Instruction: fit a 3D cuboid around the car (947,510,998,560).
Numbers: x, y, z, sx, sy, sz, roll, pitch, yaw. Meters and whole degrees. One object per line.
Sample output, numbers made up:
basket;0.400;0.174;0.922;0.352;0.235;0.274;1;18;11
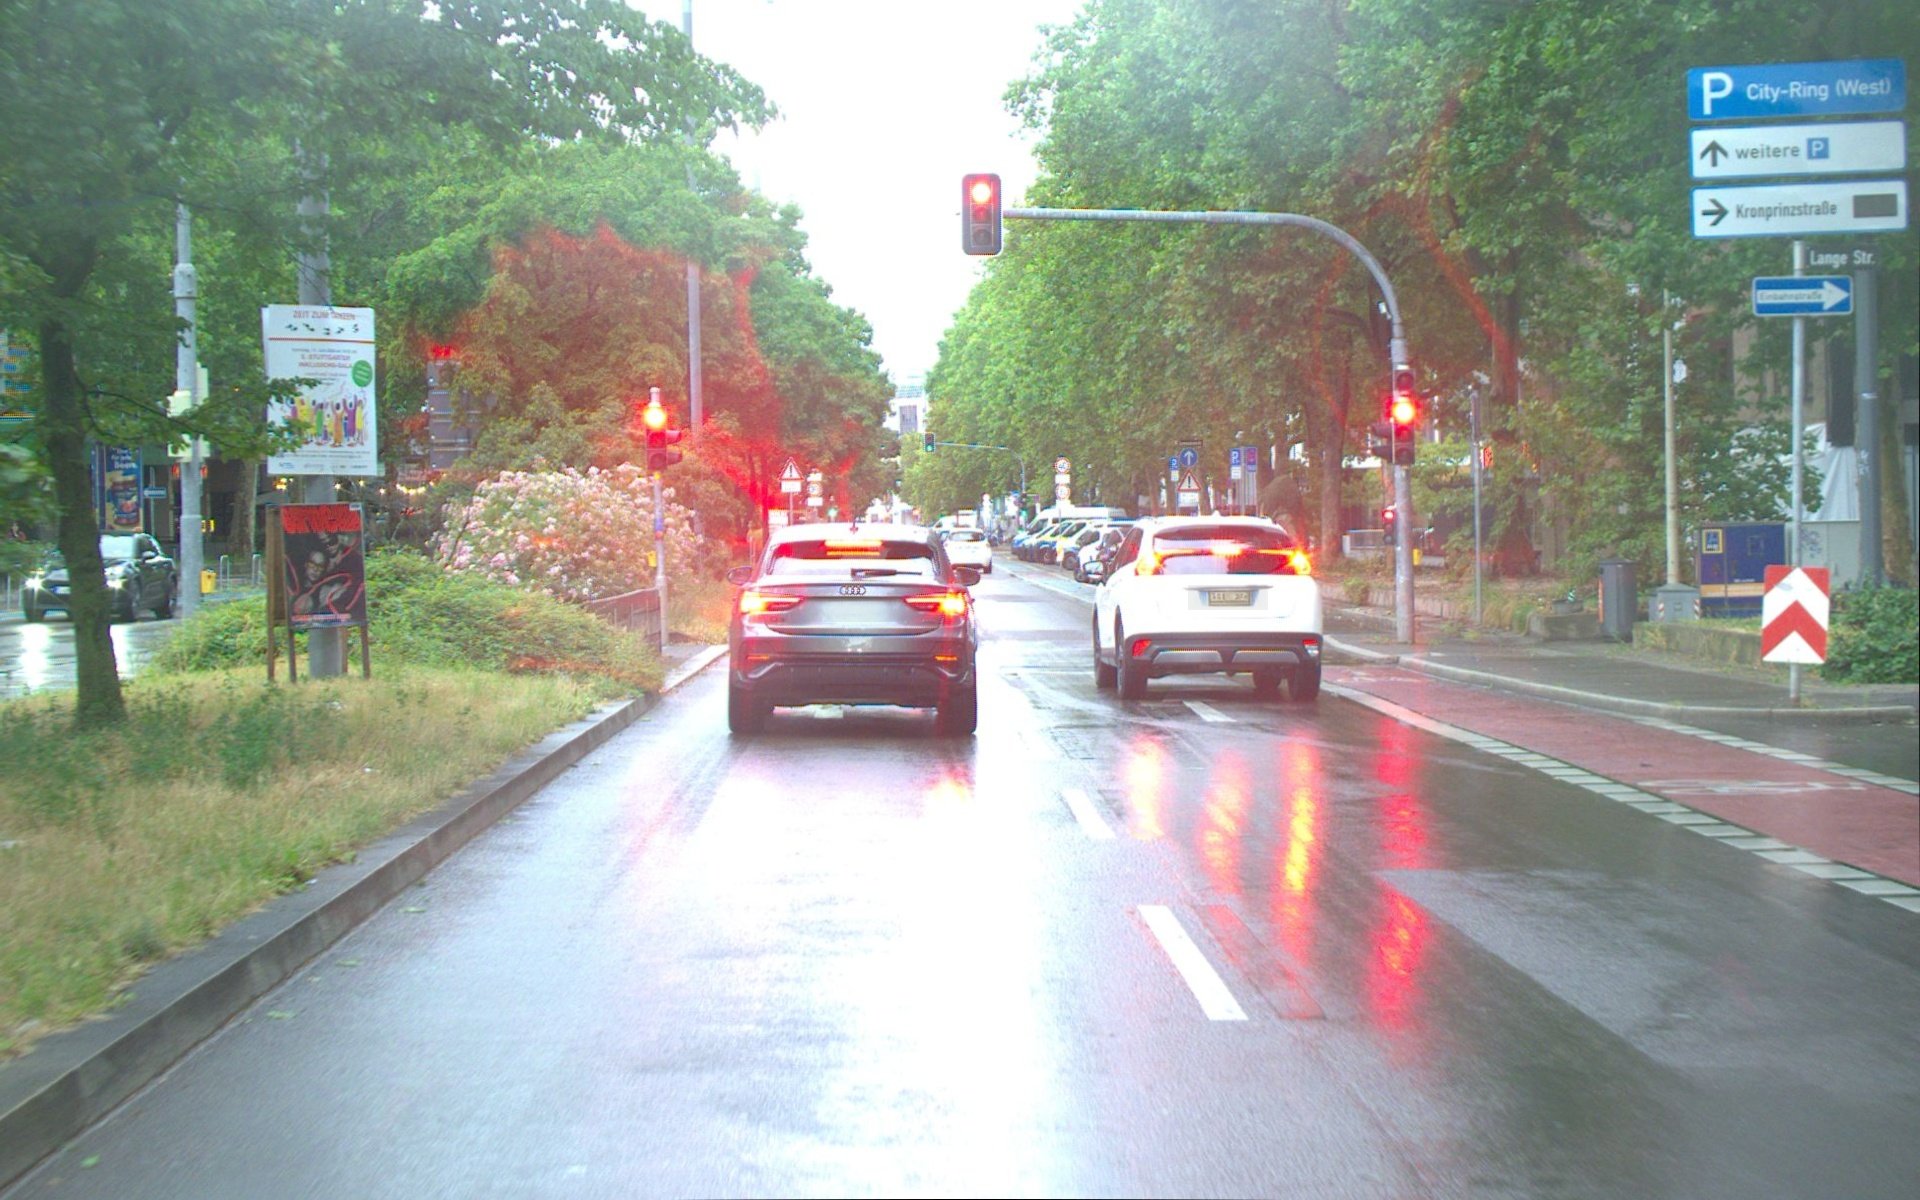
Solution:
car;0.420;-2.284;119.229;1.620;1.660;4.001;-1;2;-1

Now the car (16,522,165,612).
car;-15.620;-0.623;61.955;1.829;1.546;4.190;-1;1;-3

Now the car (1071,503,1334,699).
car;2.176;-0.060;32.174;1.993;1.649;4.889;0;2;-1

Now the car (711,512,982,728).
car;-0.859;0.094;26.435;1.918;1.486;4.001;0;2;-1
